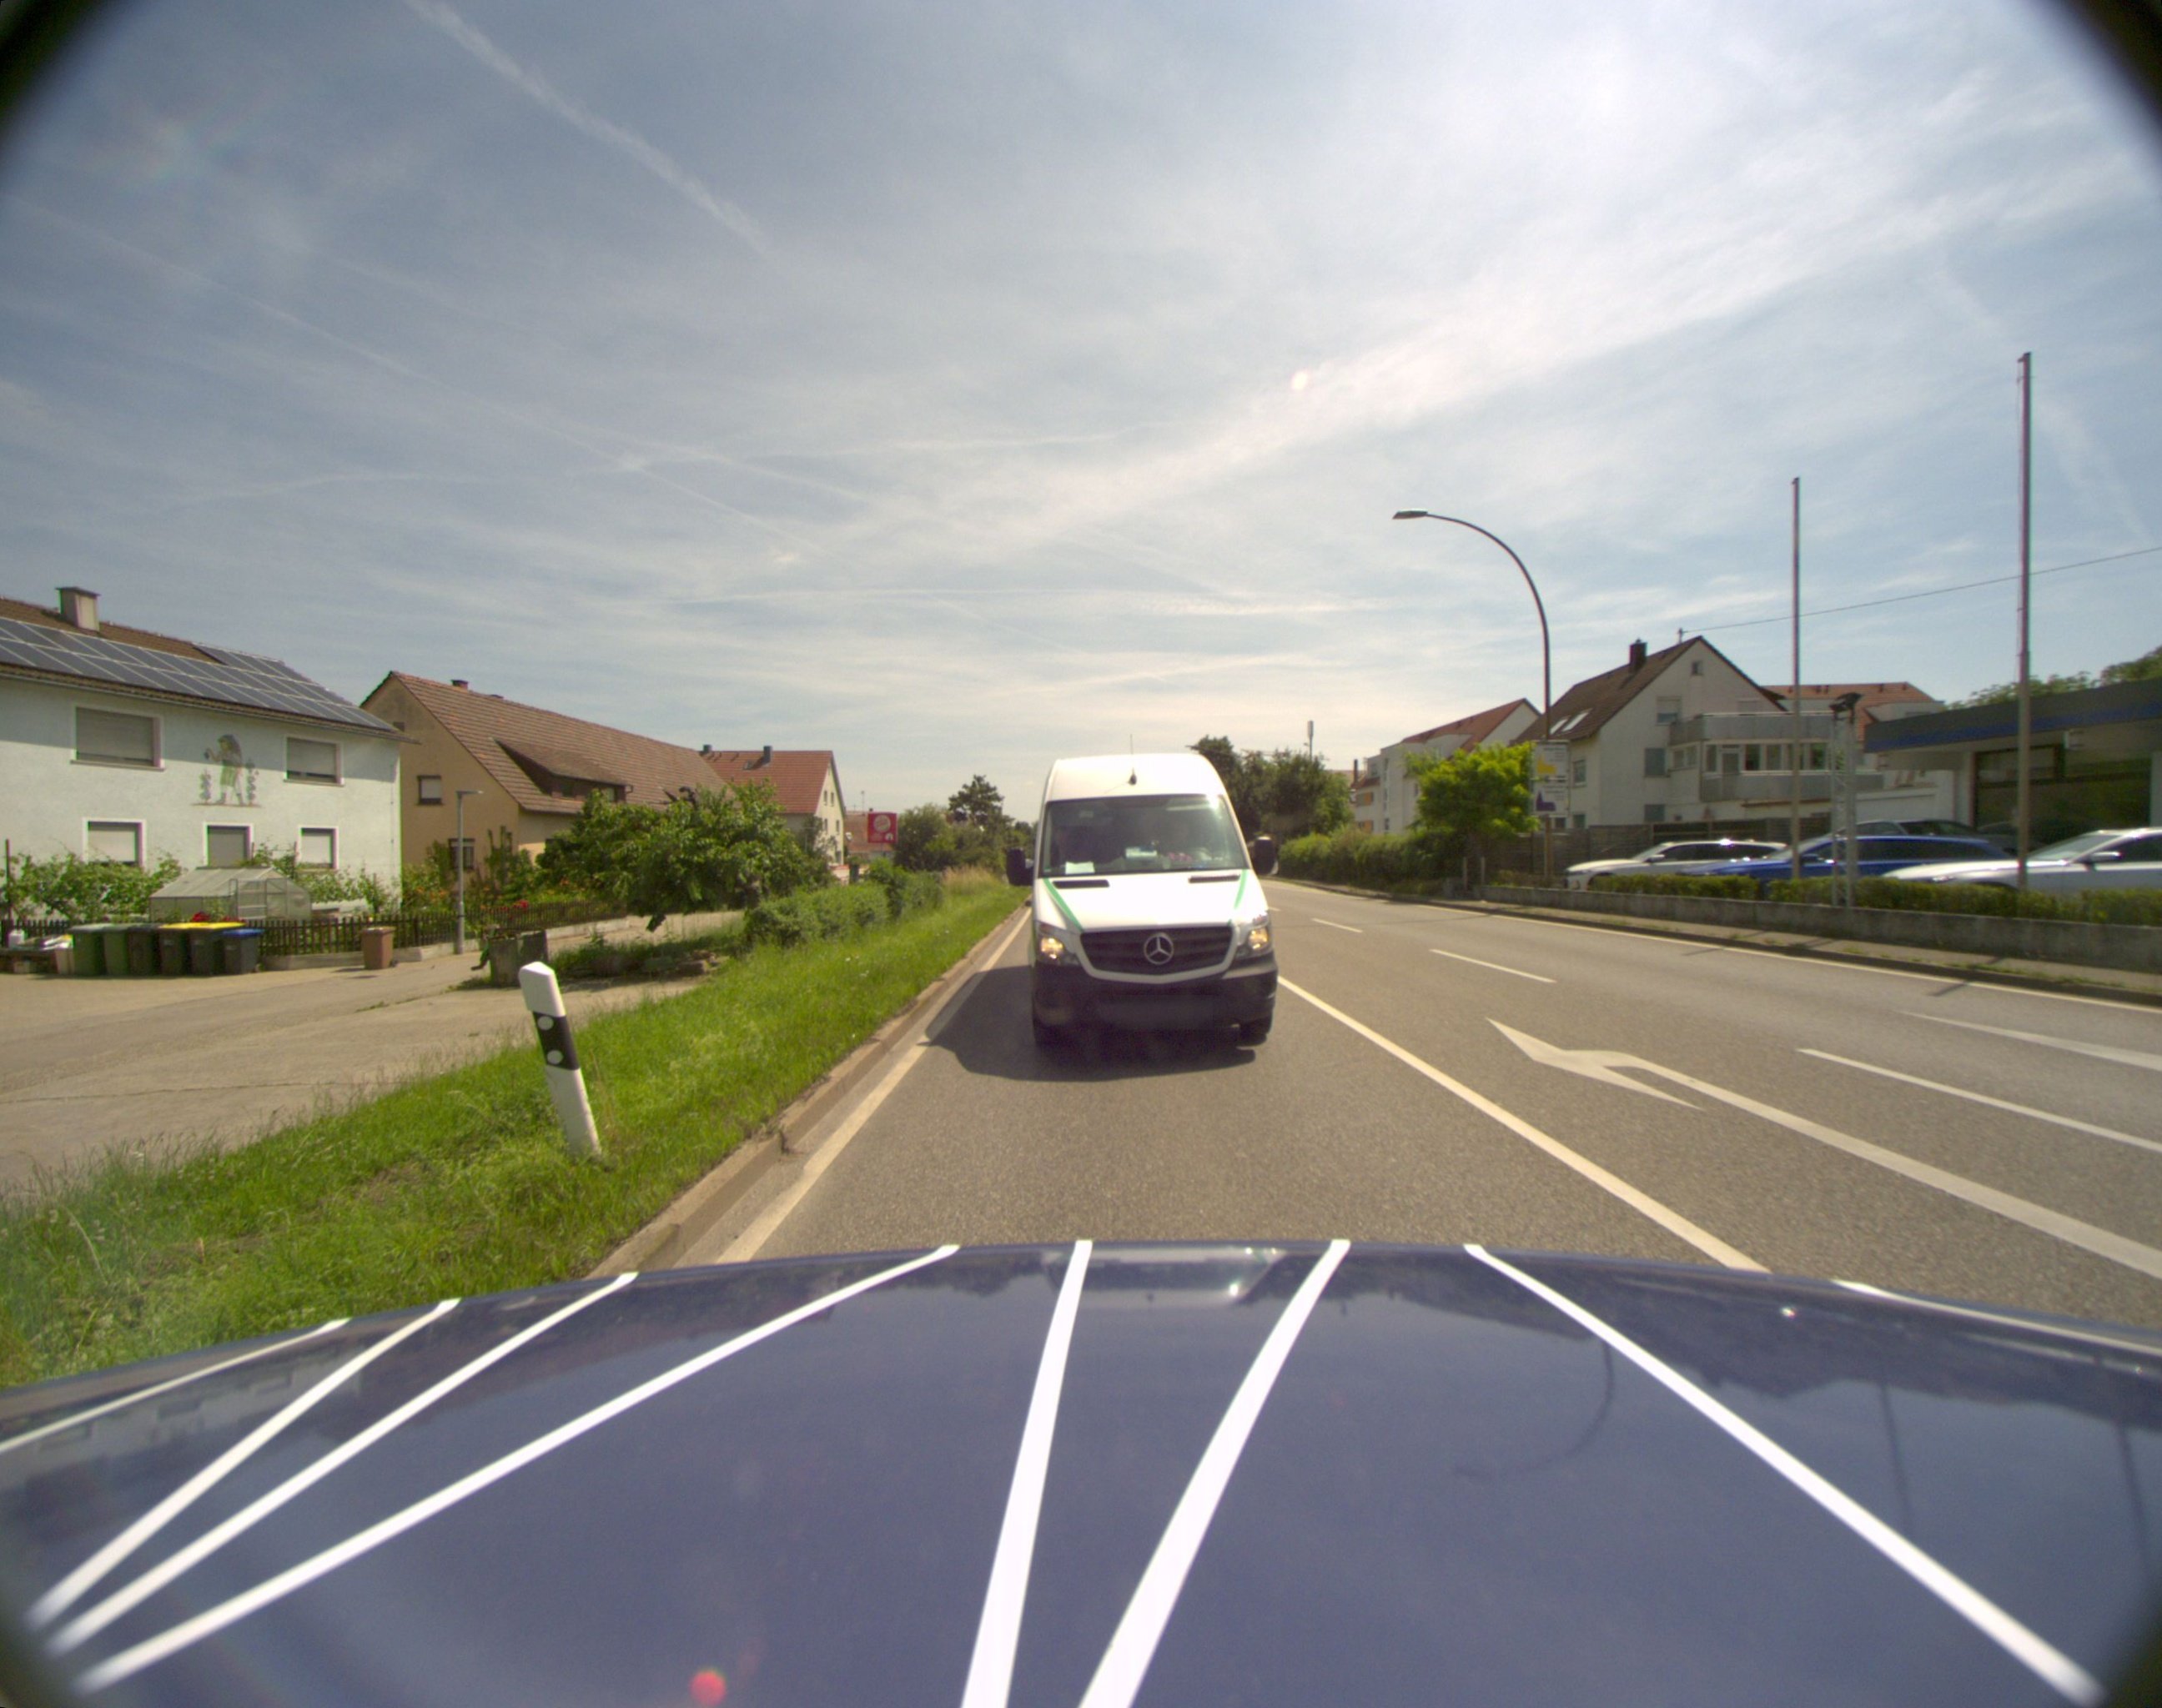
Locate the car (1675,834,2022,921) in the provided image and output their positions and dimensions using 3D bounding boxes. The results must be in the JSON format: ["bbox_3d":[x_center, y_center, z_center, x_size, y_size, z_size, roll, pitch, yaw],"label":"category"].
[{"bbox_3d":[14.308,0.436,14.589,4.331,1.439,1.860,-2,1,29],"label":"car"}]

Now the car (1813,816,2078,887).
[{"bbox_3d":[20.829,-0.067,18.683,1.807,1.456,4.585,-2,0,10],"label":"car"}]

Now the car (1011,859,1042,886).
[{"bbox_3d":[-3.360,1.108,47.456,1.636,1.476,3.551,-4,1,-1],"label":"car"}]

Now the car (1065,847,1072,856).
[{"bbox_3d":[-4.005,-0.696,236.015,1.998,2.573,3.999,-2,1,0],"label":"car"}]

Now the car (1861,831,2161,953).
[{"bbox_3d":[14.091,0.484,10.311,4.505,1.439,1.860,-4,0,30],"label":"car"}]

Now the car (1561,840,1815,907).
[{"bbox_3d":[14.506,0.479,18.550,4.568,1.439,1.860,-2,1,29],"label":"car"}]

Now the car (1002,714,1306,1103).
[{"bbox_3d":[0.475,0.357,7.883,1.939,2.514,5.748,-2,0,0],"label":"car"}]

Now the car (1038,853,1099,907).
[{"bbox_3d":[-0.406,0.820,26.395,1.884,1.652,4.625,-2,0,0],"label":"car"}]
